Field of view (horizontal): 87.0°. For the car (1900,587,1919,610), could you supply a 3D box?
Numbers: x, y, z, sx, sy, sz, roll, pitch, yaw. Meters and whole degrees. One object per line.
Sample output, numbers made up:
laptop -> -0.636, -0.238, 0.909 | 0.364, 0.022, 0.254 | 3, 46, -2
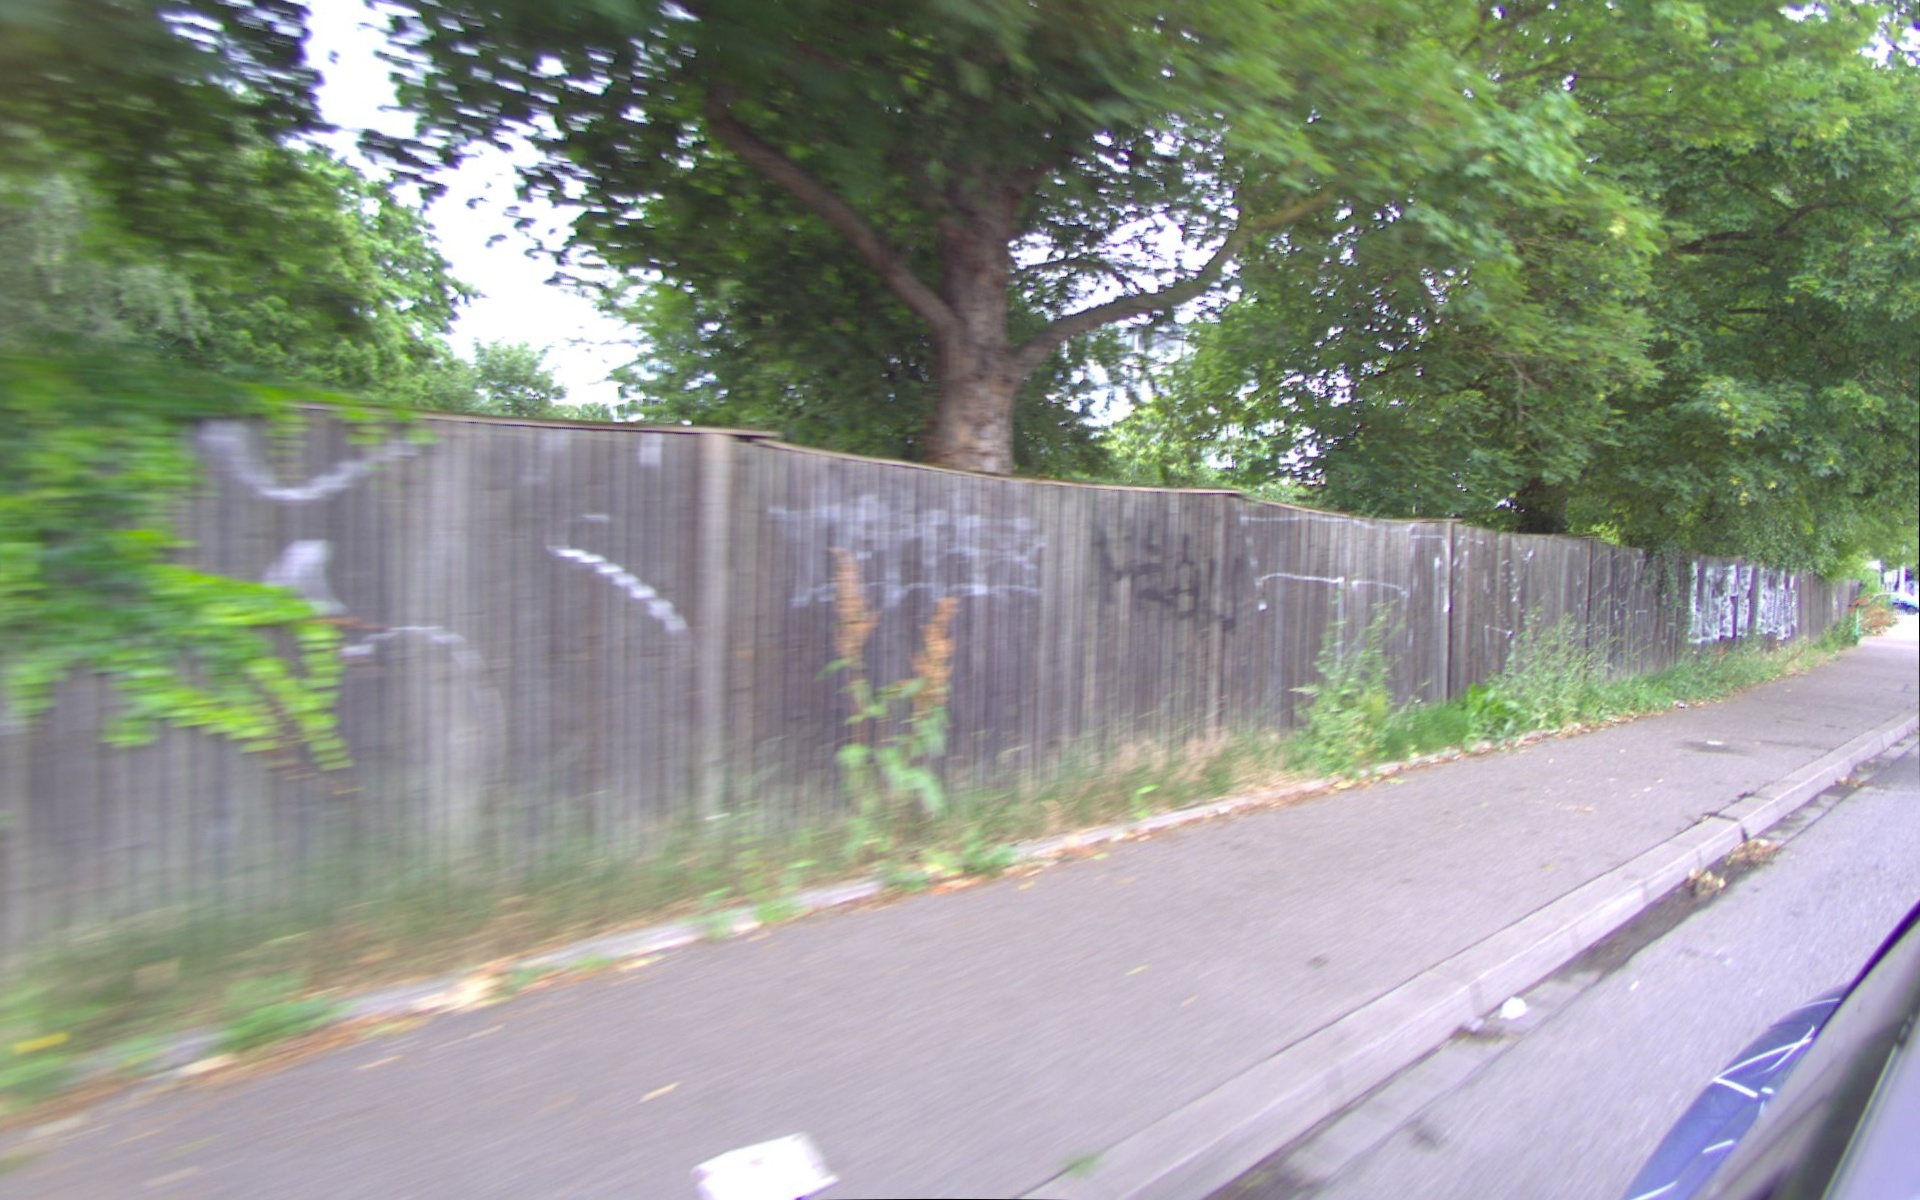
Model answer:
car -> 70.338, -0.072, 72.531 | 1.821, 1.638, 4.006 | 0, 1, -28

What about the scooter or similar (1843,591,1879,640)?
scooter or similar -> 26.038, 0.431, 29.228 | 0.691, 1.328, 2.316 | 2, 1, 43
